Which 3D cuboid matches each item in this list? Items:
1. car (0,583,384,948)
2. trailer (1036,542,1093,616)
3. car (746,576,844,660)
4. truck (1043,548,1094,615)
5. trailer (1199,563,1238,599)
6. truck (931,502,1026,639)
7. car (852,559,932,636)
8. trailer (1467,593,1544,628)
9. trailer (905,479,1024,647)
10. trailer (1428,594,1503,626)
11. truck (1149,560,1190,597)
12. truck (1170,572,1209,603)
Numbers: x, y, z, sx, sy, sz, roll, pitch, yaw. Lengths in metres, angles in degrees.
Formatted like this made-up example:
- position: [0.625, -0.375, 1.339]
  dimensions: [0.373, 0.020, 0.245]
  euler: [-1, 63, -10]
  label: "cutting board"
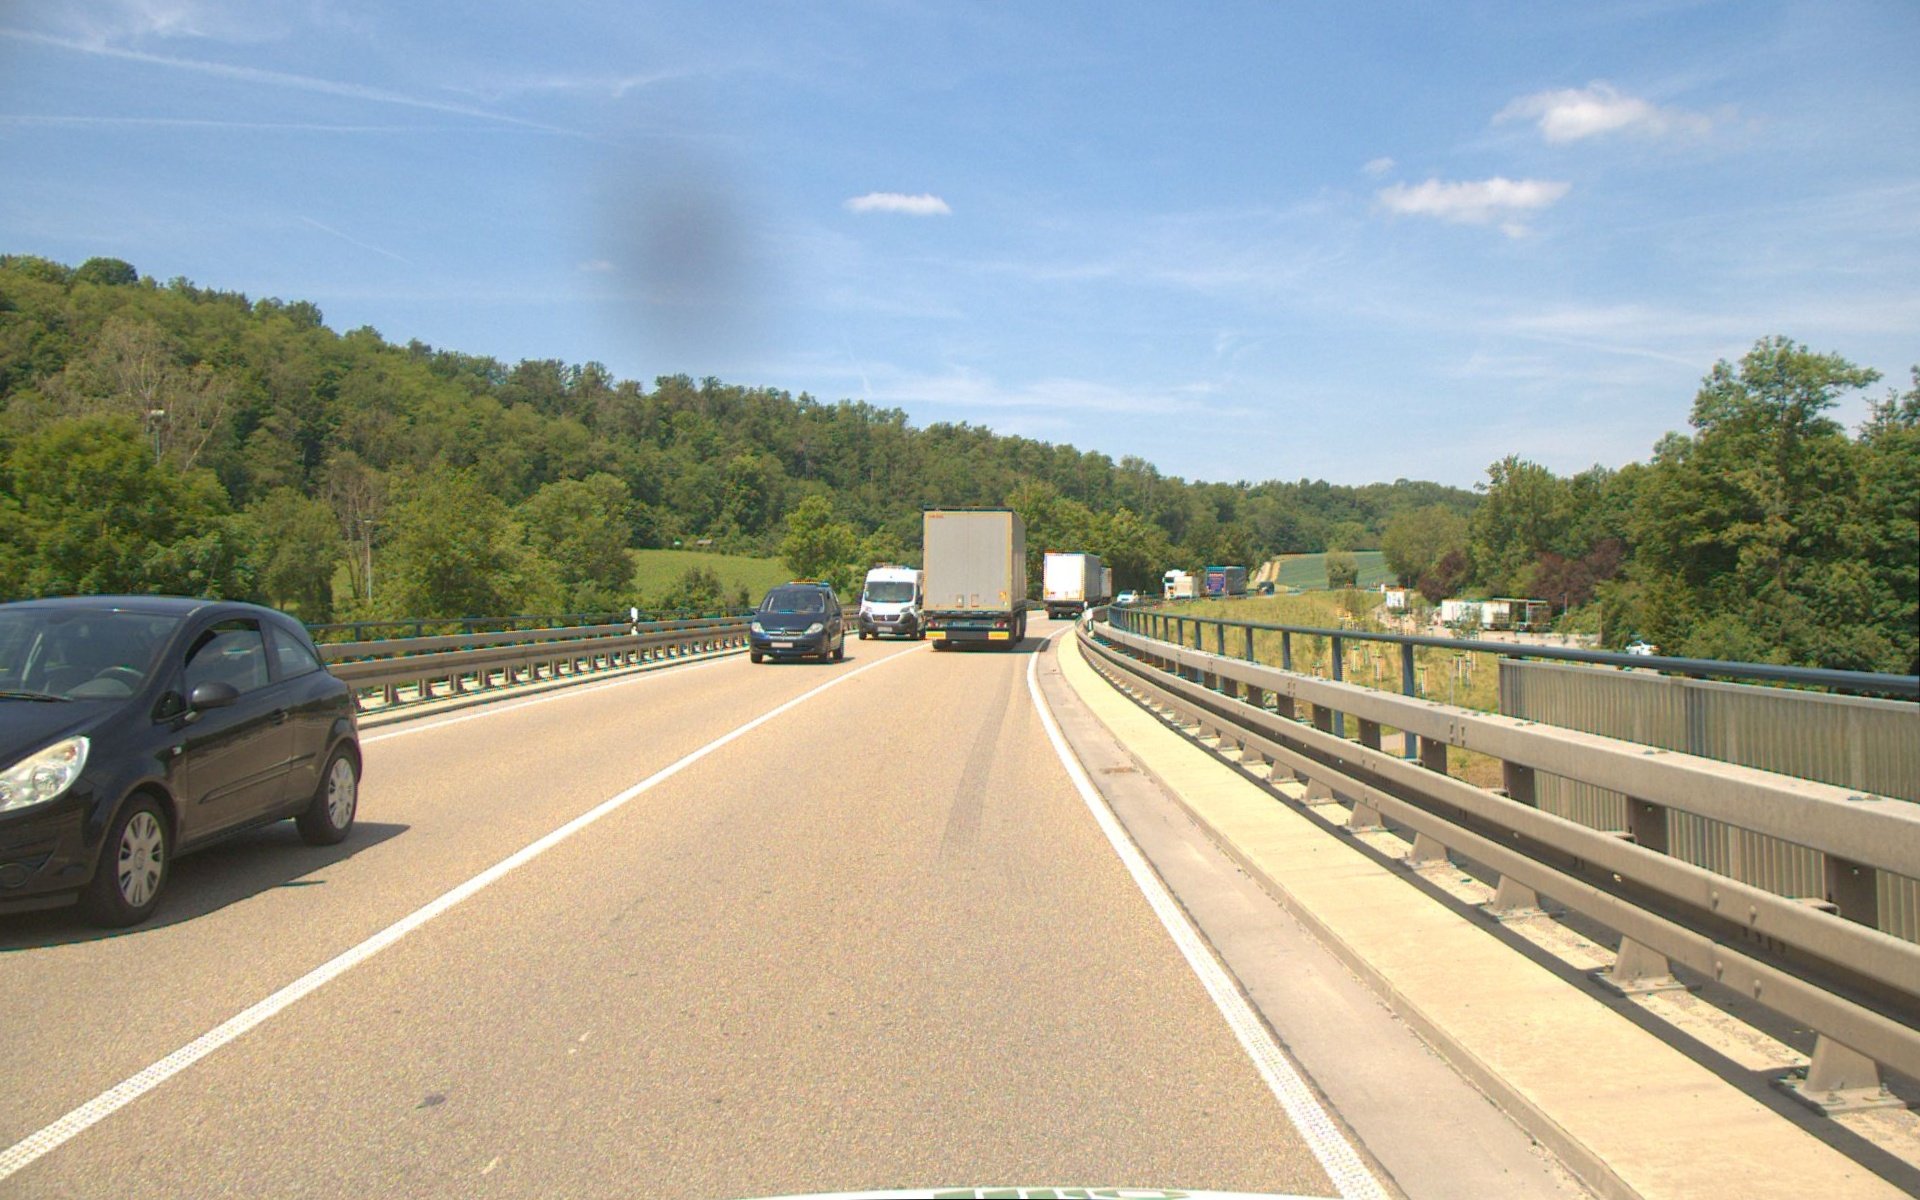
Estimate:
- position: [-4.464, 0.668, 8.648]
  dimensions: [1.627, 1.483, 3.893]
  euler: [1, 0, -2]
  label: "car"
- position: [6.826, -1.261, 106.370]
  dimensions: [3.294, 4.392, 13.872]
  euler: [1, 0, 5]
  label: "trailer"
- position: [-3.800, 0.397, 38.890]
  dimensions: [1.815, 1.830, 4.977]
  euler: [1, 0, 0]
  label: "car"
- position: [7.443, -1.249, 113.158]
  dimensions: [3.294, 4.392, 6.744]
  euler: [1, 0, 5]
  label: "truck"
- position: [32.701, -2.339, 209.085]
  dimensions: [3.570, 4.337, 12.203]
  euler: [1, 0, 15]
  label: "trailer"
- position: [0.749, -0.989, 58.957]
  dimensions: [3.053, 4.573, 6.813]
  euler: [1, 0, 3]
  label: "truck"
- position: [-2.384, -0.067, 59.635]
  dimensions: [2.133, 2.604, 5.800]
  euler: [1, 0, 5]
  label: "car"
- position: [62.663, 1.117, 190.381]
  dimensions: [2.671, 3.669, 11.859]
  euler: [1, 1, -12]
  label: "trailer"
- position: [0.400, -0.995, 52.437]
  dimensions: [3.053, 4.578, 13.891]
  euler: [1, 0, 3]
  label: "trailer"
- position: [58.925, 1.144, 193.238]
  dimensions: [2.673, 3.385, 11.851]
  euler: [0, 1, -14]
  label: "trailer"
- position: [25.758, -2.592, 202.629]
  dimensions: [2.997, 4.337, 9.871]
  euler: [0, 0, 19]
  label: "truck"
- position: [26.107, -1.392, 187.881]
  dimensions: [3.154, 3.424, 11.884]
  euler: [1, 0, 14]
  label: "truck"
